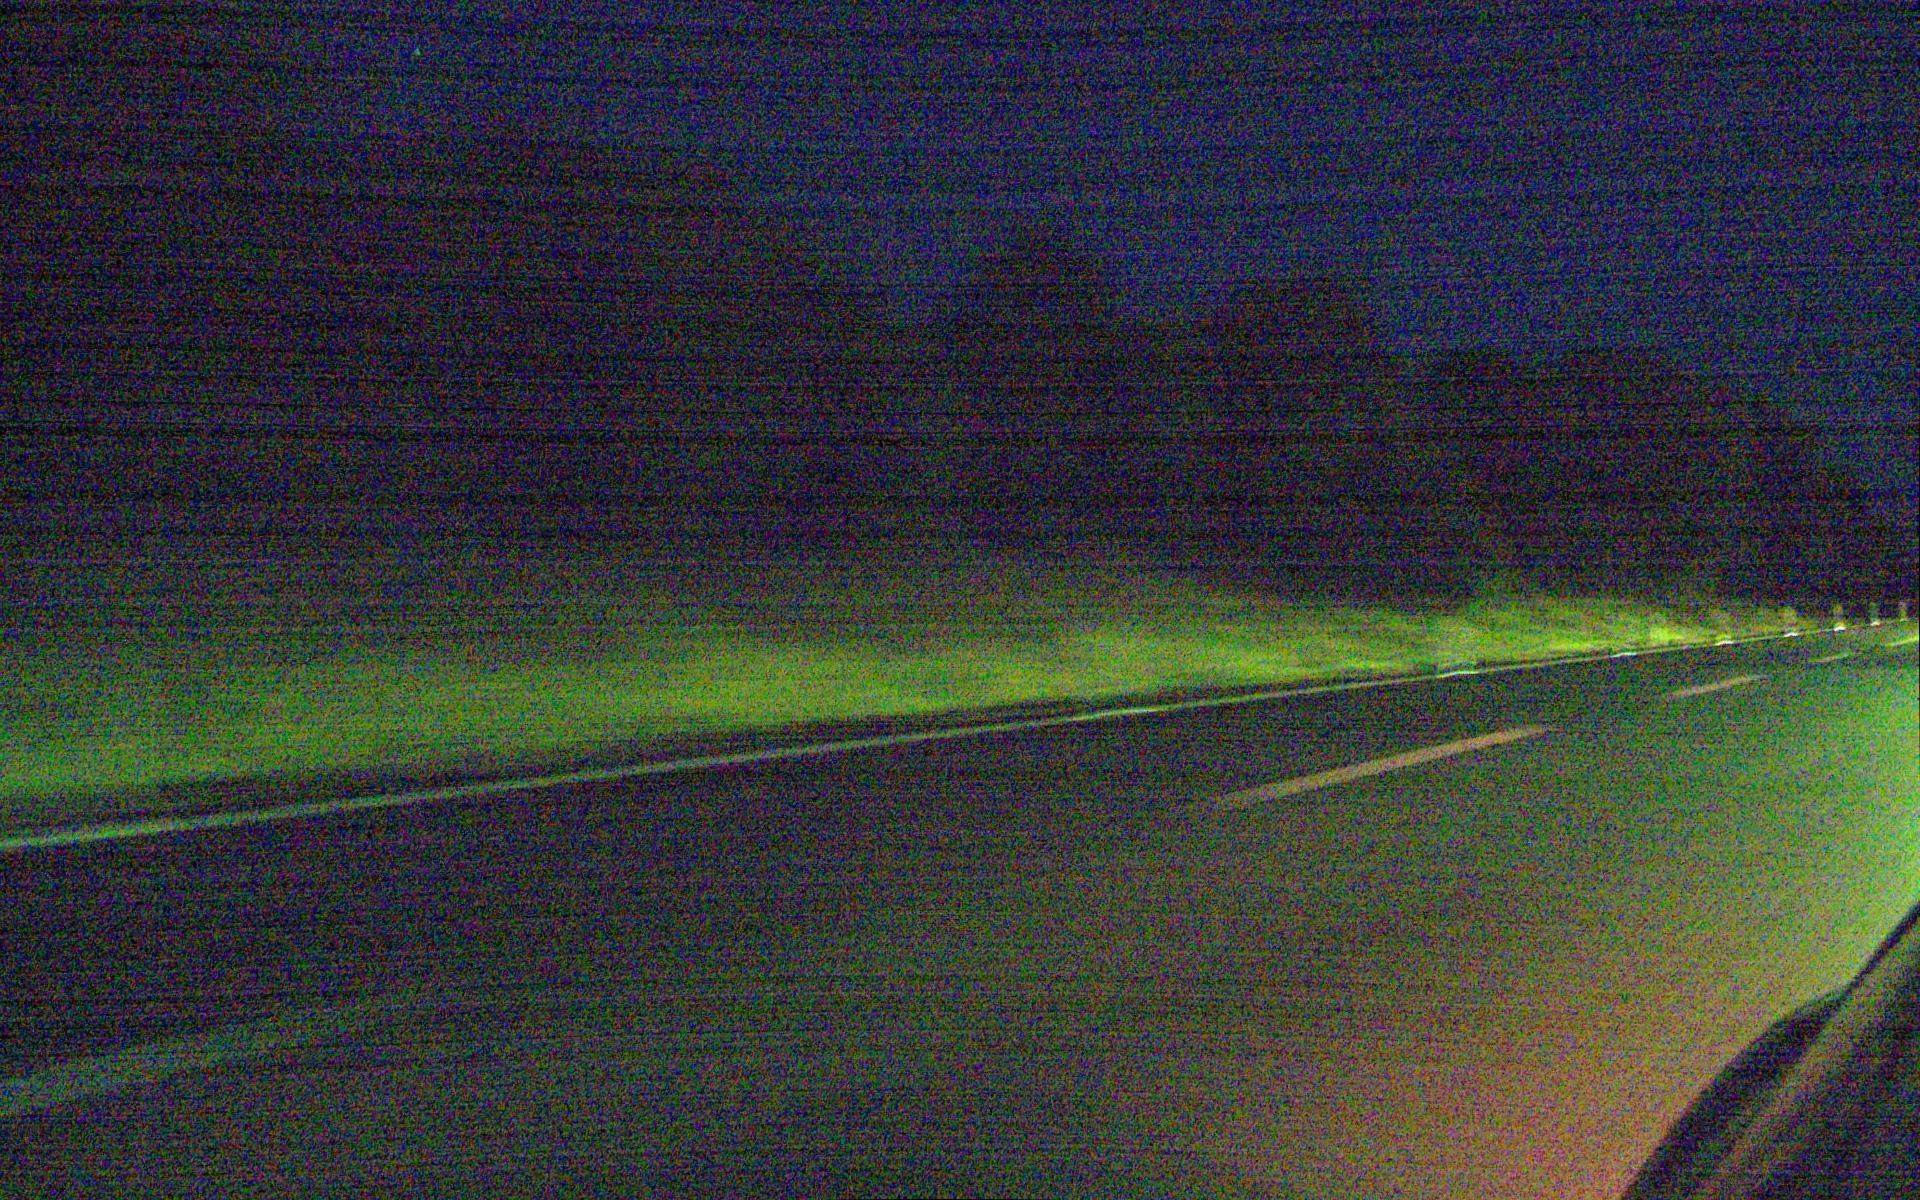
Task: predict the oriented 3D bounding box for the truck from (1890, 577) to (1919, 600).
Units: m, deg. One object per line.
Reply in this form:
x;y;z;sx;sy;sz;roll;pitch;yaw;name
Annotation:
153.467;-1.824;162.774;2.491;3.695;6.194;-1;0;9;truck

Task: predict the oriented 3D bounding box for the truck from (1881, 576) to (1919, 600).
157.914;-1.970;167.396;3.007;3.975;9.646;-1;0;6;truck
